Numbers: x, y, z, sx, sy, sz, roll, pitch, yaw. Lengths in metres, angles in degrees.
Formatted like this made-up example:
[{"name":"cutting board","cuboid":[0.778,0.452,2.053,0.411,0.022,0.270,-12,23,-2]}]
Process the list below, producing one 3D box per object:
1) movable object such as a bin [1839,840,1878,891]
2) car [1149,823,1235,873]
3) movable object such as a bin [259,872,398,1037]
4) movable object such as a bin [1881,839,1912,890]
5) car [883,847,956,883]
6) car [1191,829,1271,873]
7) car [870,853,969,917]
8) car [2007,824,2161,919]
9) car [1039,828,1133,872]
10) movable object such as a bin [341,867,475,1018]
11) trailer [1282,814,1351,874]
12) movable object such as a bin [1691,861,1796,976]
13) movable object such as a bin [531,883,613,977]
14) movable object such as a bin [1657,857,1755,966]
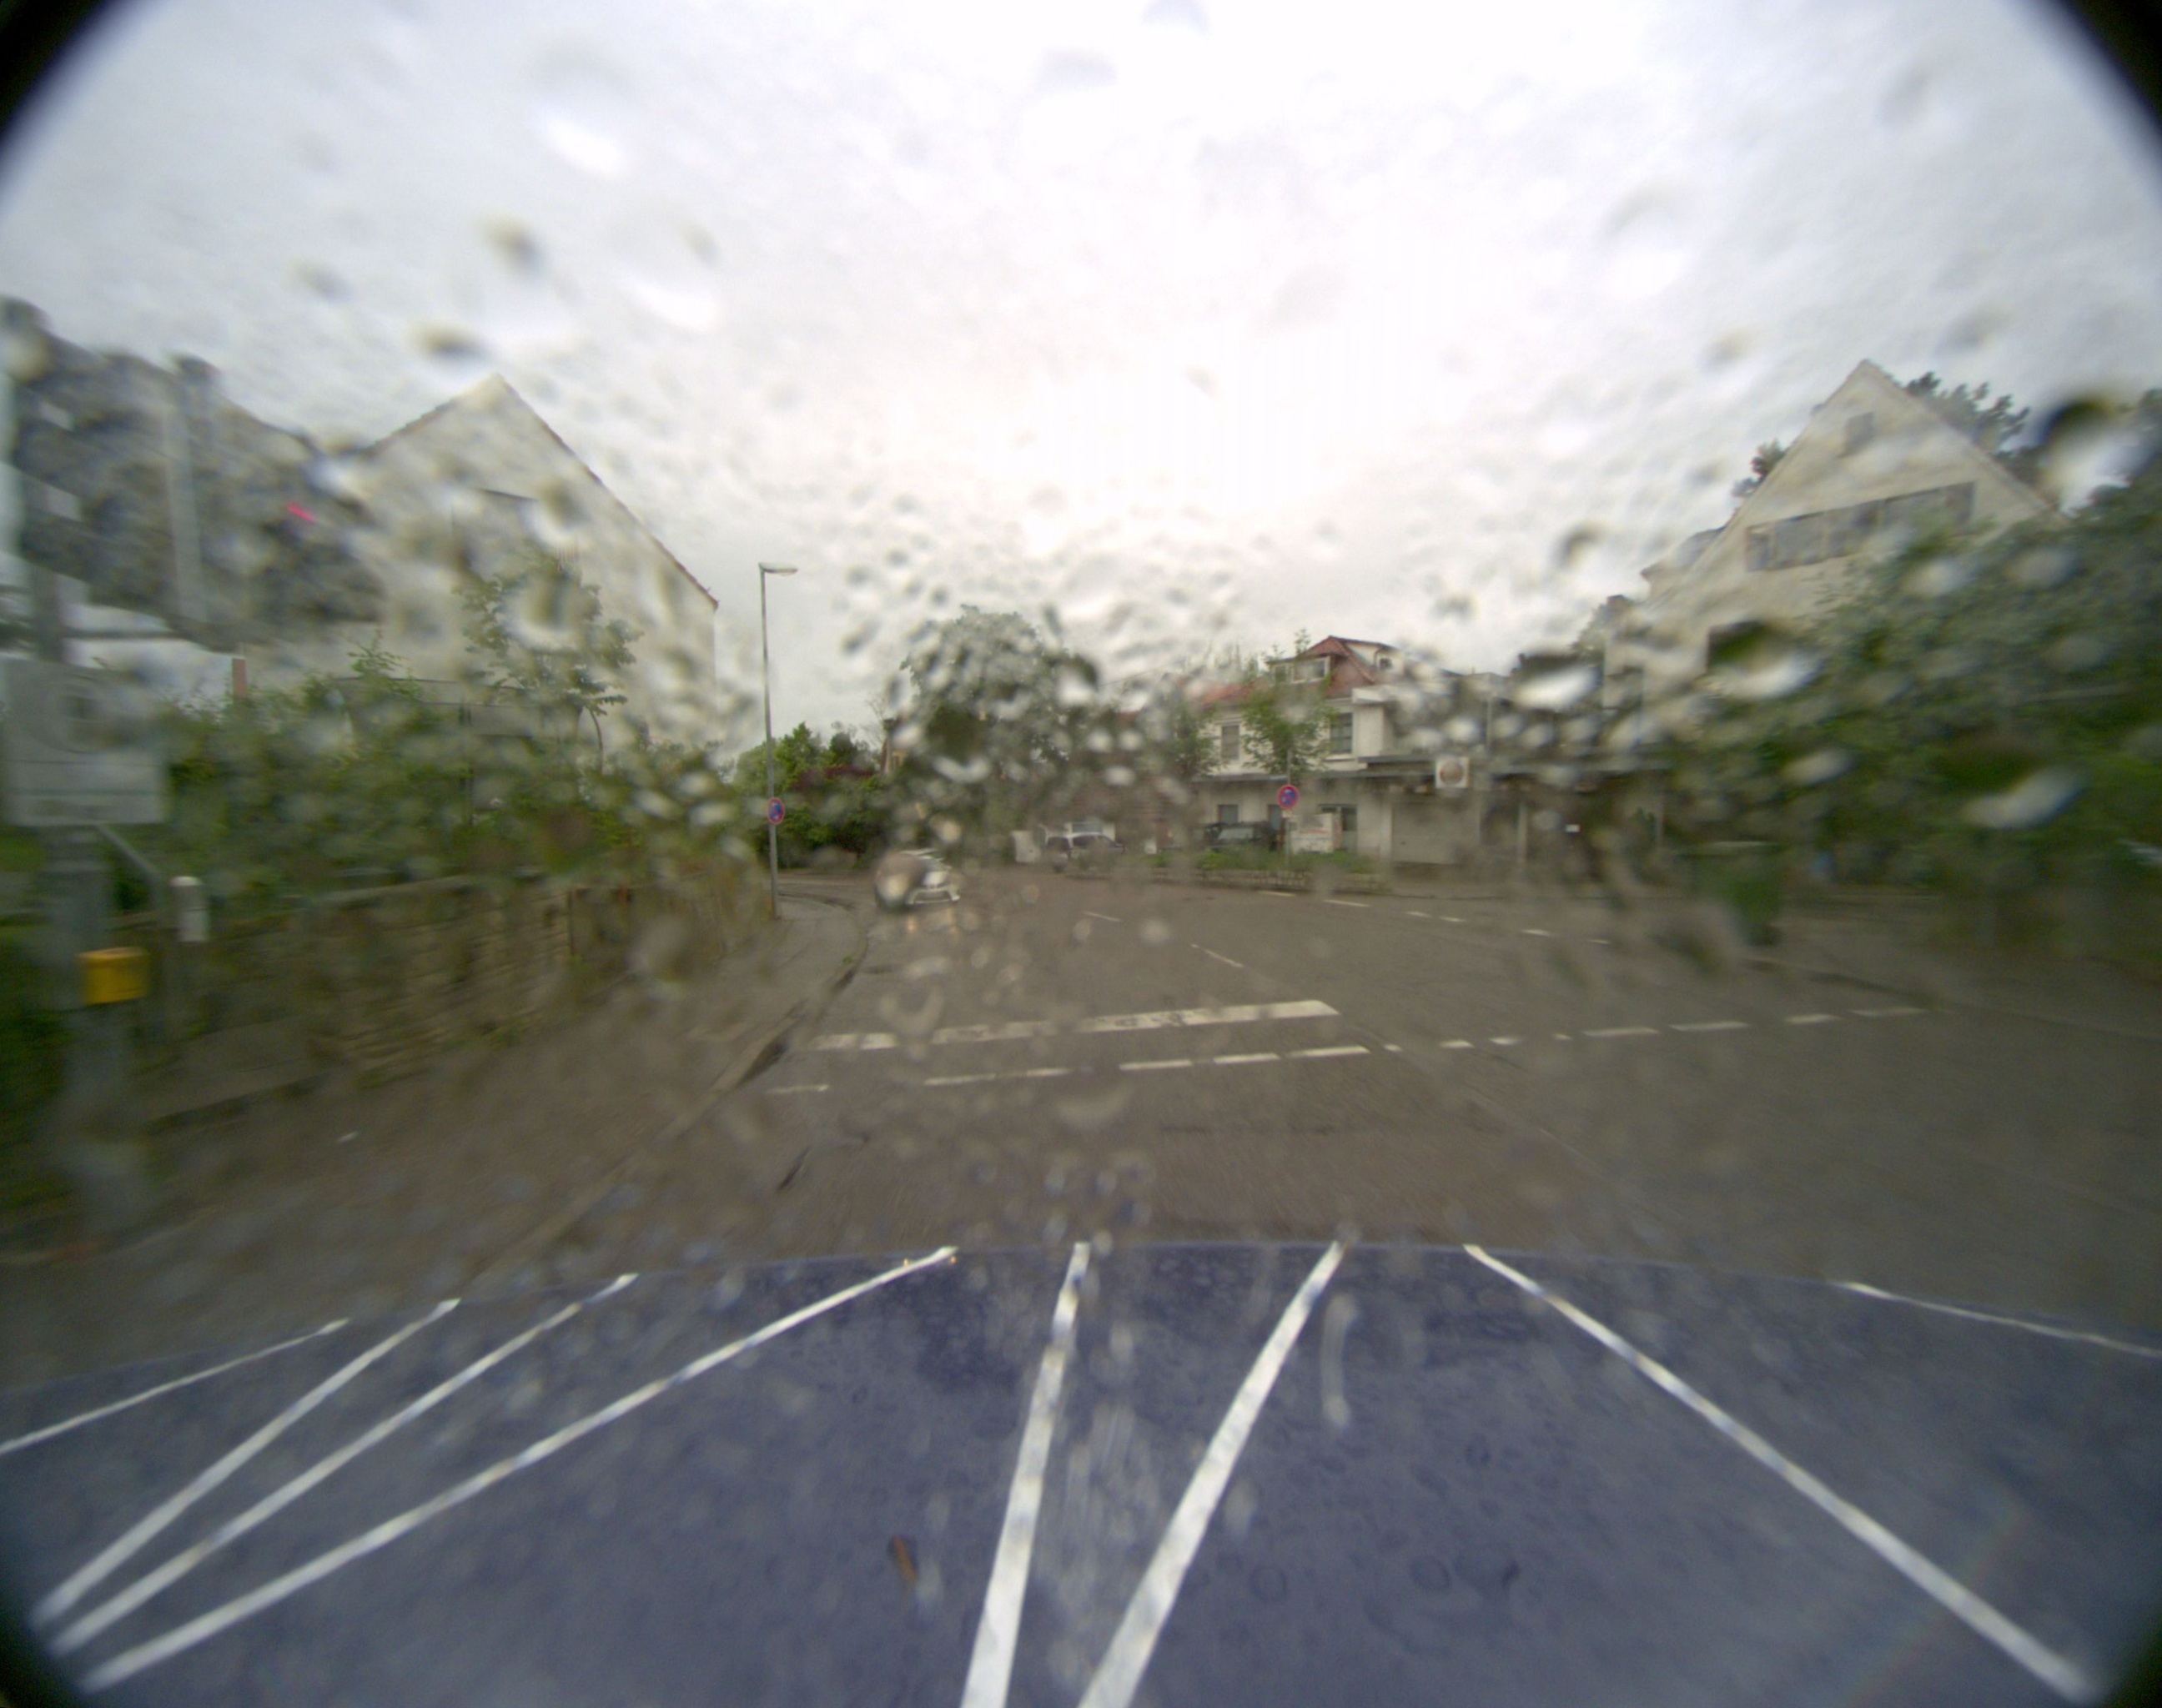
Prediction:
[{"name":"movable object such as a bin","cuboid":[16.836,0.249,16.455,0.367,1.058,0.498,-6,3,-31]},{"name":"car","cuboid":[4.809,-0.272,32.429,1.794,1.765,4.096,-2,4,37]},{"name":"movable object such as a bin","cuboid":[-6.245,0.808,6.324,0.608,1.239,0.515,2,6,19]},{"name":"movable object such as a bin","cuboid":[17.365,0.223,16.176,0.349,1.040,0.387,-6,3,-31]},{"name":"car","cuboid":[-7.301,0.472,34.146,1.602,1.405,4.226,-5,2,-34]},{"name":"car","cuboid":[6.040,-0.141,30.388,1.834,1.477,3.351,-2,3,36]},{"name":"car","cuboid":[-4.757,0.807,21.995,1.862,1.428,4.007,-6,4,-24]},{"name":"car","cuboid":[16.884,0.242,11.392,1.551,1.323,3.737,-6,3,-42]},{"name":"car","cuboid":[0.291,-0.211,36.668,4.126,1.790,1.994,-6,3,-41]},{"name":"movable object such as a bin","cuboid":[-6.100,0.770,6.912,0.608,1.239,0.602,2,6,19]},{"name":"trailer","cuboid":[8.988,-0.426,28.791,1.949,2.091,3.966,-1,2,24]},{"name":"movable object such as a bin","cuboid":[6.816,0.653,7.845,0.559,1.082,0.707,-3,3,17]},{"name":"movable object such as a bin","cuboid":[-5.490,0.810,8.205,0.465,0.931,0.482,-2,3,26]},{"name":"movable object such as a bin","cuboid":[6.995,0.633,8.537,0.625,1.133,0.668,-3,3,17]}]
